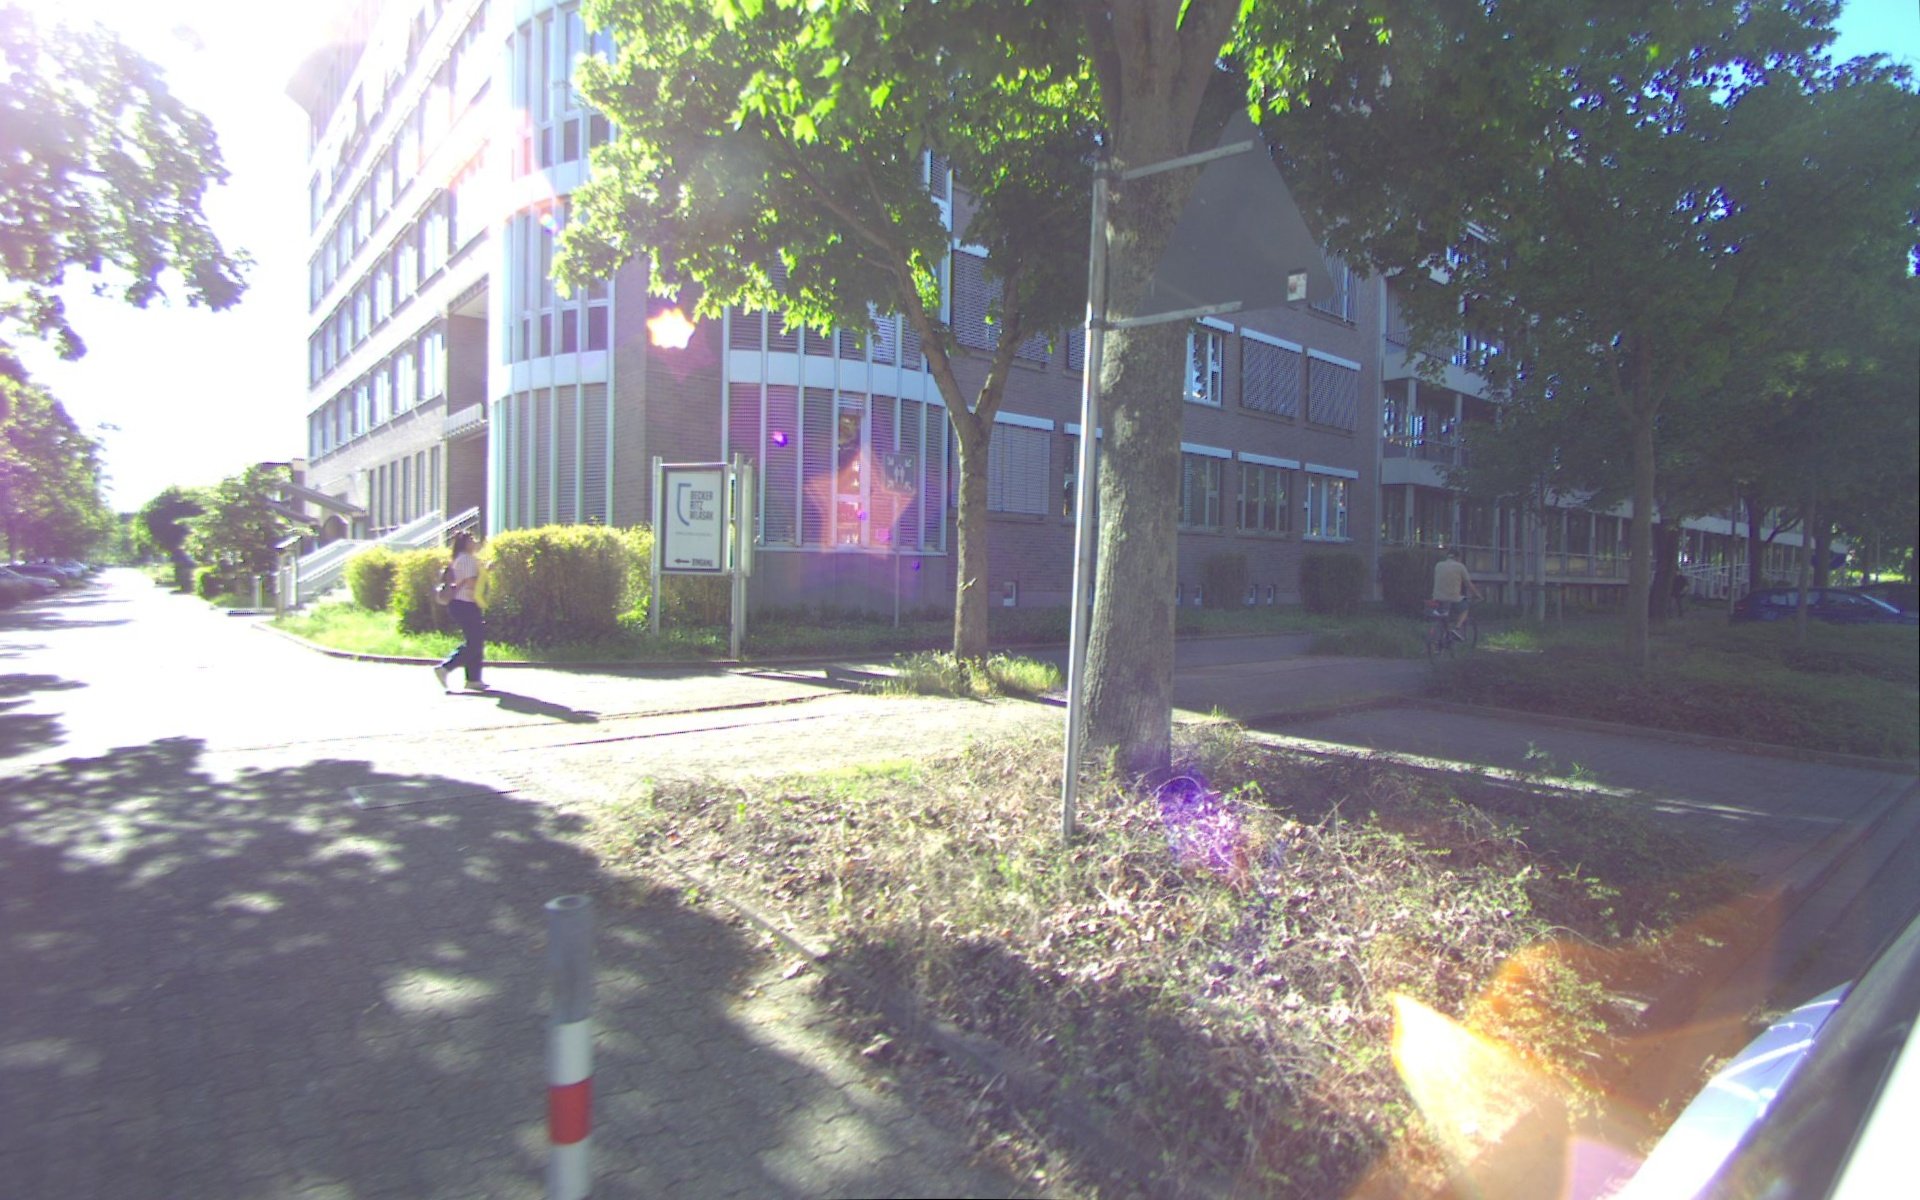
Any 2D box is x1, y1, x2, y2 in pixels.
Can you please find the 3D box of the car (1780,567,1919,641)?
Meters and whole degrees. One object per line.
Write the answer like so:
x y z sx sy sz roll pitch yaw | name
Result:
22.674 0.107 24.516 1.633 1.609 4.130 -2 5 -44 | car

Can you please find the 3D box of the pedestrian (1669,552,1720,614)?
22.286 -0.510 30.707 1.001 1.821 1.036 0 0 -41 | pedestrian

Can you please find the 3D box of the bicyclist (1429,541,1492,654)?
7.569 -0.043 15.301 0.808 1.657 0.538 0 1 -39 | bicyclist

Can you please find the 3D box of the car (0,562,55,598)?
-39.683 -0.829 41.484 3.845 1.461 1.533 -2 3 -43 | car

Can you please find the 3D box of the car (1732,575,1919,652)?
19.243 0.274 21.616 1.627 1.387 4.121 -1 4 -43 | car

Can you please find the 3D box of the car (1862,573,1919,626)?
30.645 0.019 31.186 1.683 1.604 3.998 0 3 -38 | car

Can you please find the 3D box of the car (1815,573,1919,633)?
25.952 0.122 27.370 1.633 1.478 4.130 -1 4 -44 | car

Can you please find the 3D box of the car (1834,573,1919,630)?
27.902 0.073 29.002 1.806 1.535 4.130 -1 4 -43 | car

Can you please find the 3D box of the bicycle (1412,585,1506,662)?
7.575 0.333 15.315 1.885 1.091 0.535 0 2 -40 | bicycle

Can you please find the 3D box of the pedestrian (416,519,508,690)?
-4.892 0.033 9.942 0.537 1.602 0.639 2 1 40 | pedestrian

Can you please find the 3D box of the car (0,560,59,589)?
-48.289 -1.303 51.275 3.846 1.461 1.533 -2 3 -44 | car

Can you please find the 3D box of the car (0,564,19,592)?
-46.351 -1.034 47.031 3.845 1.331 1.533 -1 2 -44 | car

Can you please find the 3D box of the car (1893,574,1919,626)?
33.195 0.045 32.880 1.876 1.687 4.128 -1 2 -44 | car

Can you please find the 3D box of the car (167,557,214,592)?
-33.832 -1.158 44.550 1.508 1.461 3.910 -1 3 -35 | car
